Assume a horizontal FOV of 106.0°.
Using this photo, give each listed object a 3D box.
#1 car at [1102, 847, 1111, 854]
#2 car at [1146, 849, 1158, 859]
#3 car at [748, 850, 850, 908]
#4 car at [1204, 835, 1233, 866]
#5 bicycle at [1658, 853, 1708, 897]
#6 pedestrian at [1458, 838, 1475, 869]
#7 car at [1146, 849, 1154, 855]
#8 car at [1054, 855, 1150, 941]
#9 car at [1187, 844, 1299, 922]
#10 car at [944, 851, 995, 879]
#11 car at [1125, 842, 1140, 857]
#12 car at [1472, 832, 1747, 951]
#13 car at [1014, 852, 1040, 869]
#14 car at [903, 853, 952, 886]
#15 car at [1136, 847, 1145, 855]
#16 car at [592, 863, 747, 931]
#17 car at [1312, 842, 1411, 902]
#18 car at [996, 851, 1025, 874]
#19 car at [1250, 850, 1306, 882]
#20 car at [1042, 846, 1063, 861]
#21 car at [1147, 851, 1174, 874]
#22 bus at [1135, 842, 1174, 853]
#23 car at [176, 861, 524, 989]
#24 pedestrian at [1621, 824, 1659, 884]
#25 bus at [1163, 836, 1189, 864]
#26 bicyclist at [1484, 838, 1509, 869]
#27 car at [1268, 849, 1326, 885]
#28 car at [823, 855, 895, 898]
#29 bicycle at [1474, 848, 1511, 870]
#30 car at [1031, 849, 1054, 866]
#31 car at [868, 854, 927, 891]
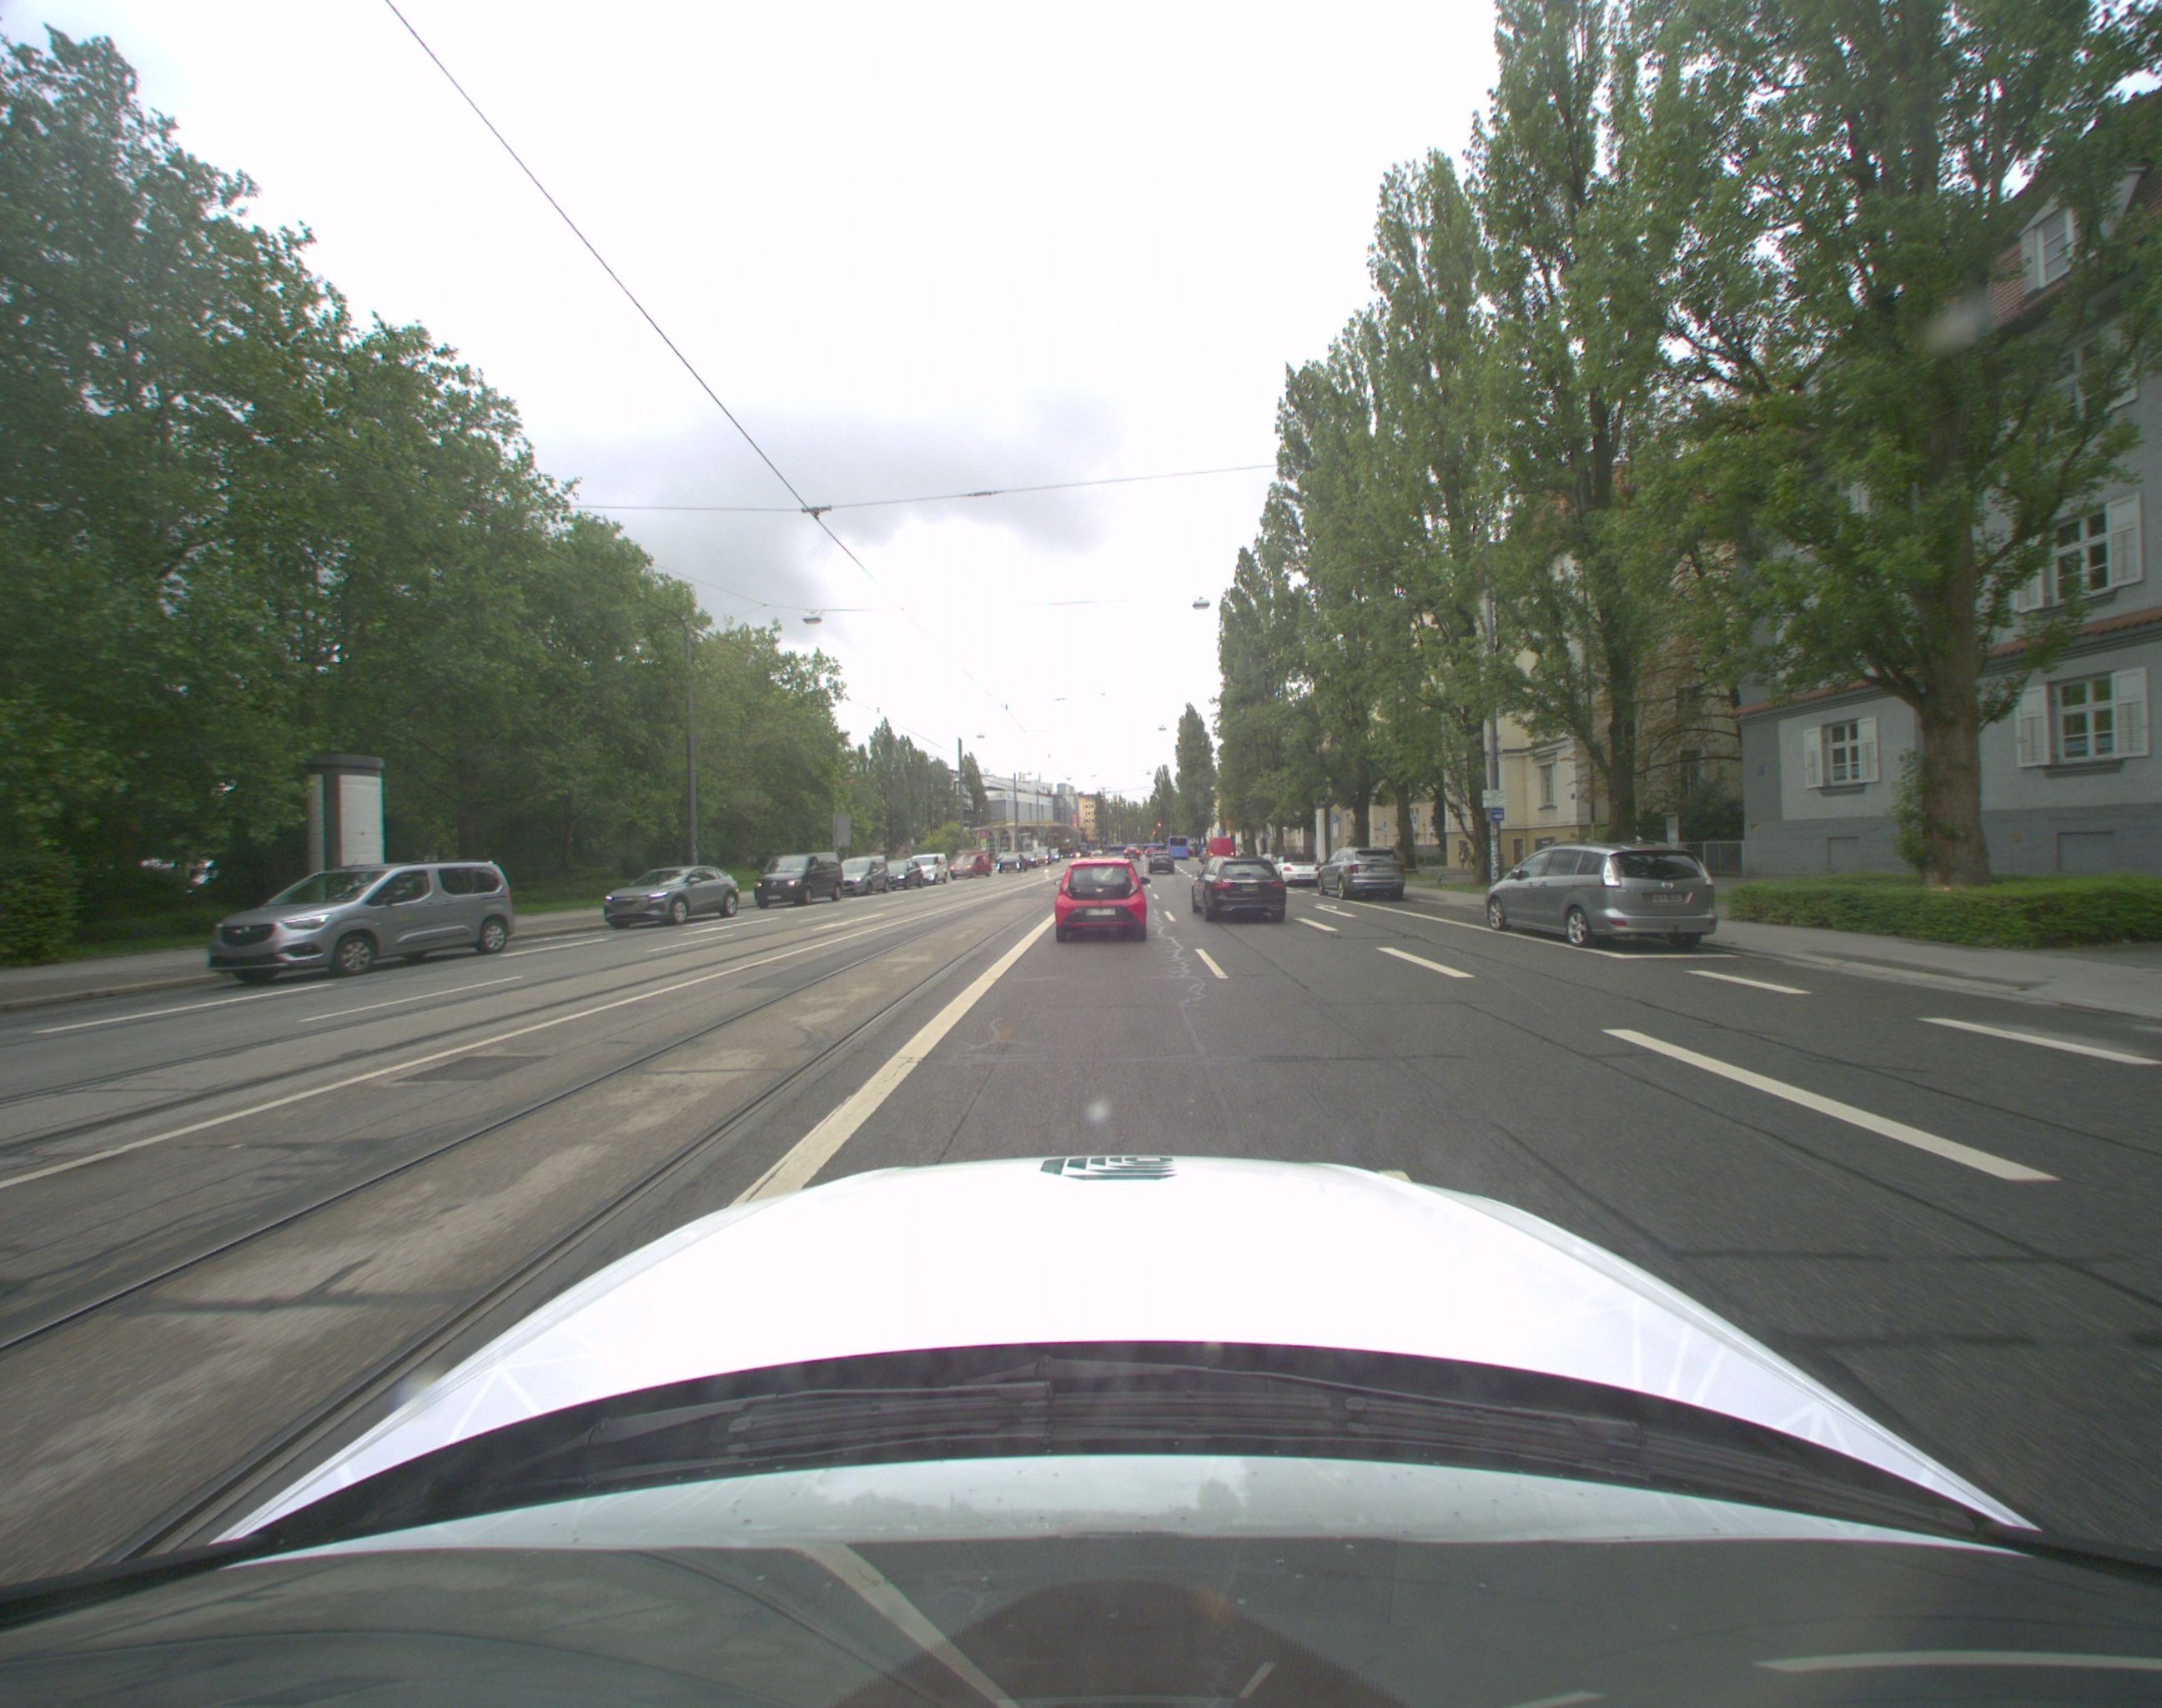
[{"bbox_3d":[5.196,-0.674,167.163,1.773,1.486,4.004,-2,0,3],"label":"car"},{"bbox_3d":[11.416,0.000,130.443,1.773,1.486,4.004,-2,0,3],"label":"car"},{"bbox_3d":[-10.661,0.881,31.202,1.791,1.991,5.044,-2,0,3],"label":"car"},{"bbox_3d":[12.121,-0.385,72.017,1.985,2.574,4.684,-1,2,3],"label":"car"},{"bbox_3d":[14.665,0.496,19.862,0.353,0.988,1.229,-1,2,3],"label":"bicycle"},{"bbox_3d":[19.864,-0.042,41.965,0.550,1.547,0.739,-1,2,2],"label":"pedestrian"},{"bbox_3d":[17.150,-0.419,203.208,1.773,1.486,4.004,-2,0,3],"label":"car"},{"bbox_3d":[0.381,0.751,15.581,1.623,1.440,3.377,-1,0,1],"label":"car"},{"bbox_3d":[3.720,0.584,19.541,1.856,1.549,4.706,-2,1,2],"label":"car"},{"bbox_3d":[-8.088,0.771,59.459,1.785,1.788,4.540,-4,0,18],"label":"car"},{"bbox_3d":[6.041,-0.521,95.528,1.728,1.549,4.580,-2,0,3],"label":"car"},{"bbox_3d":[8.543,0.528,13.764,1.792,1.612,4.549,-2,0,2],"label":"car"},{"bbox_3d":[-5.160,0.620,78.801,1.791,1.530,4.524,-4,0,4],"label":"car"},{"bbox_3d":[-9.452,0.935,50.485,1.792,1.861,4.634,-4,0,3],"label":"car"},{"bbox_3d":[14.248,-0.703,194.363,1.794,1.596,4.007,-1,-3,7],"label":"car"},{"bbox_3d":[-11.497,1.121,23.191,1.792,1.634,4.593,-2,0,3],"label":"car"},{"bbox_3d":[9.188,0.544,27.109,1.792,1.742,4.703,-2,0,2],"label":"car"},{"bbox_3d":[-5.854,0.672,68.348,1.792,1.788,4.521,-4,0,2],"label":"car"},{"bbox_3d":[10.092,0.572,42.004,1.793,1.508,4.450,-2,0,0],"label":"car"},{"bbox_3d":[-3.410,-0.042,98.554,1.790,1.665,4.527,-4,0,6],"label":"car"},{"bbox_3d":[5.646,0.589,58.305,1.773,1.486,4.004,-2,0,3],"label":"car"},{"bbox_3d":[20.191,-1.795,223.520,10.523,2.846,2.000,-1,2,-1],"label":"bus"},{"bbox_3d":[-12.254,1.059,14.172,1.792,1.779,4.477,-2,0,3],"label":"car"},{"bbox_3d":[16.629,-0.010,24.226,0.588,1.738,0.825,-1,2,3],"label":"pedestrian"},{"bbox_3d":[12.688,-0.608,109.409,2.894,3.395,10.817,-1,2,3],"label":"bus"},{"bbox_3d":[17.827,-0.012,34.945,0.657,1.314,0.706,-2,0,1],"label":"bicyclist"},{"bbox_3d":[9.823,0.565,37.320,1.791,1.508,4.004,-2,0,3],"label":"car"},{"bbox_3d":[-10.329,0.979,38.273,1.792,1.788,4.523,-4,0,3],"label":"car"},{"bbox_3d":[17.837,0.207,35.336,0.650,0.923,1.903,-2,0,2],"label":"bicycle"},{"bbox_3d":[-4.091,0.385,86.170,1.791,1.665,4.524,-4,0,4],"label":"car"},{"bbox_3d":[-9.852,0.975,44.111,1.792,1.788,4.523,-4,0,3],"label":"car"}]
